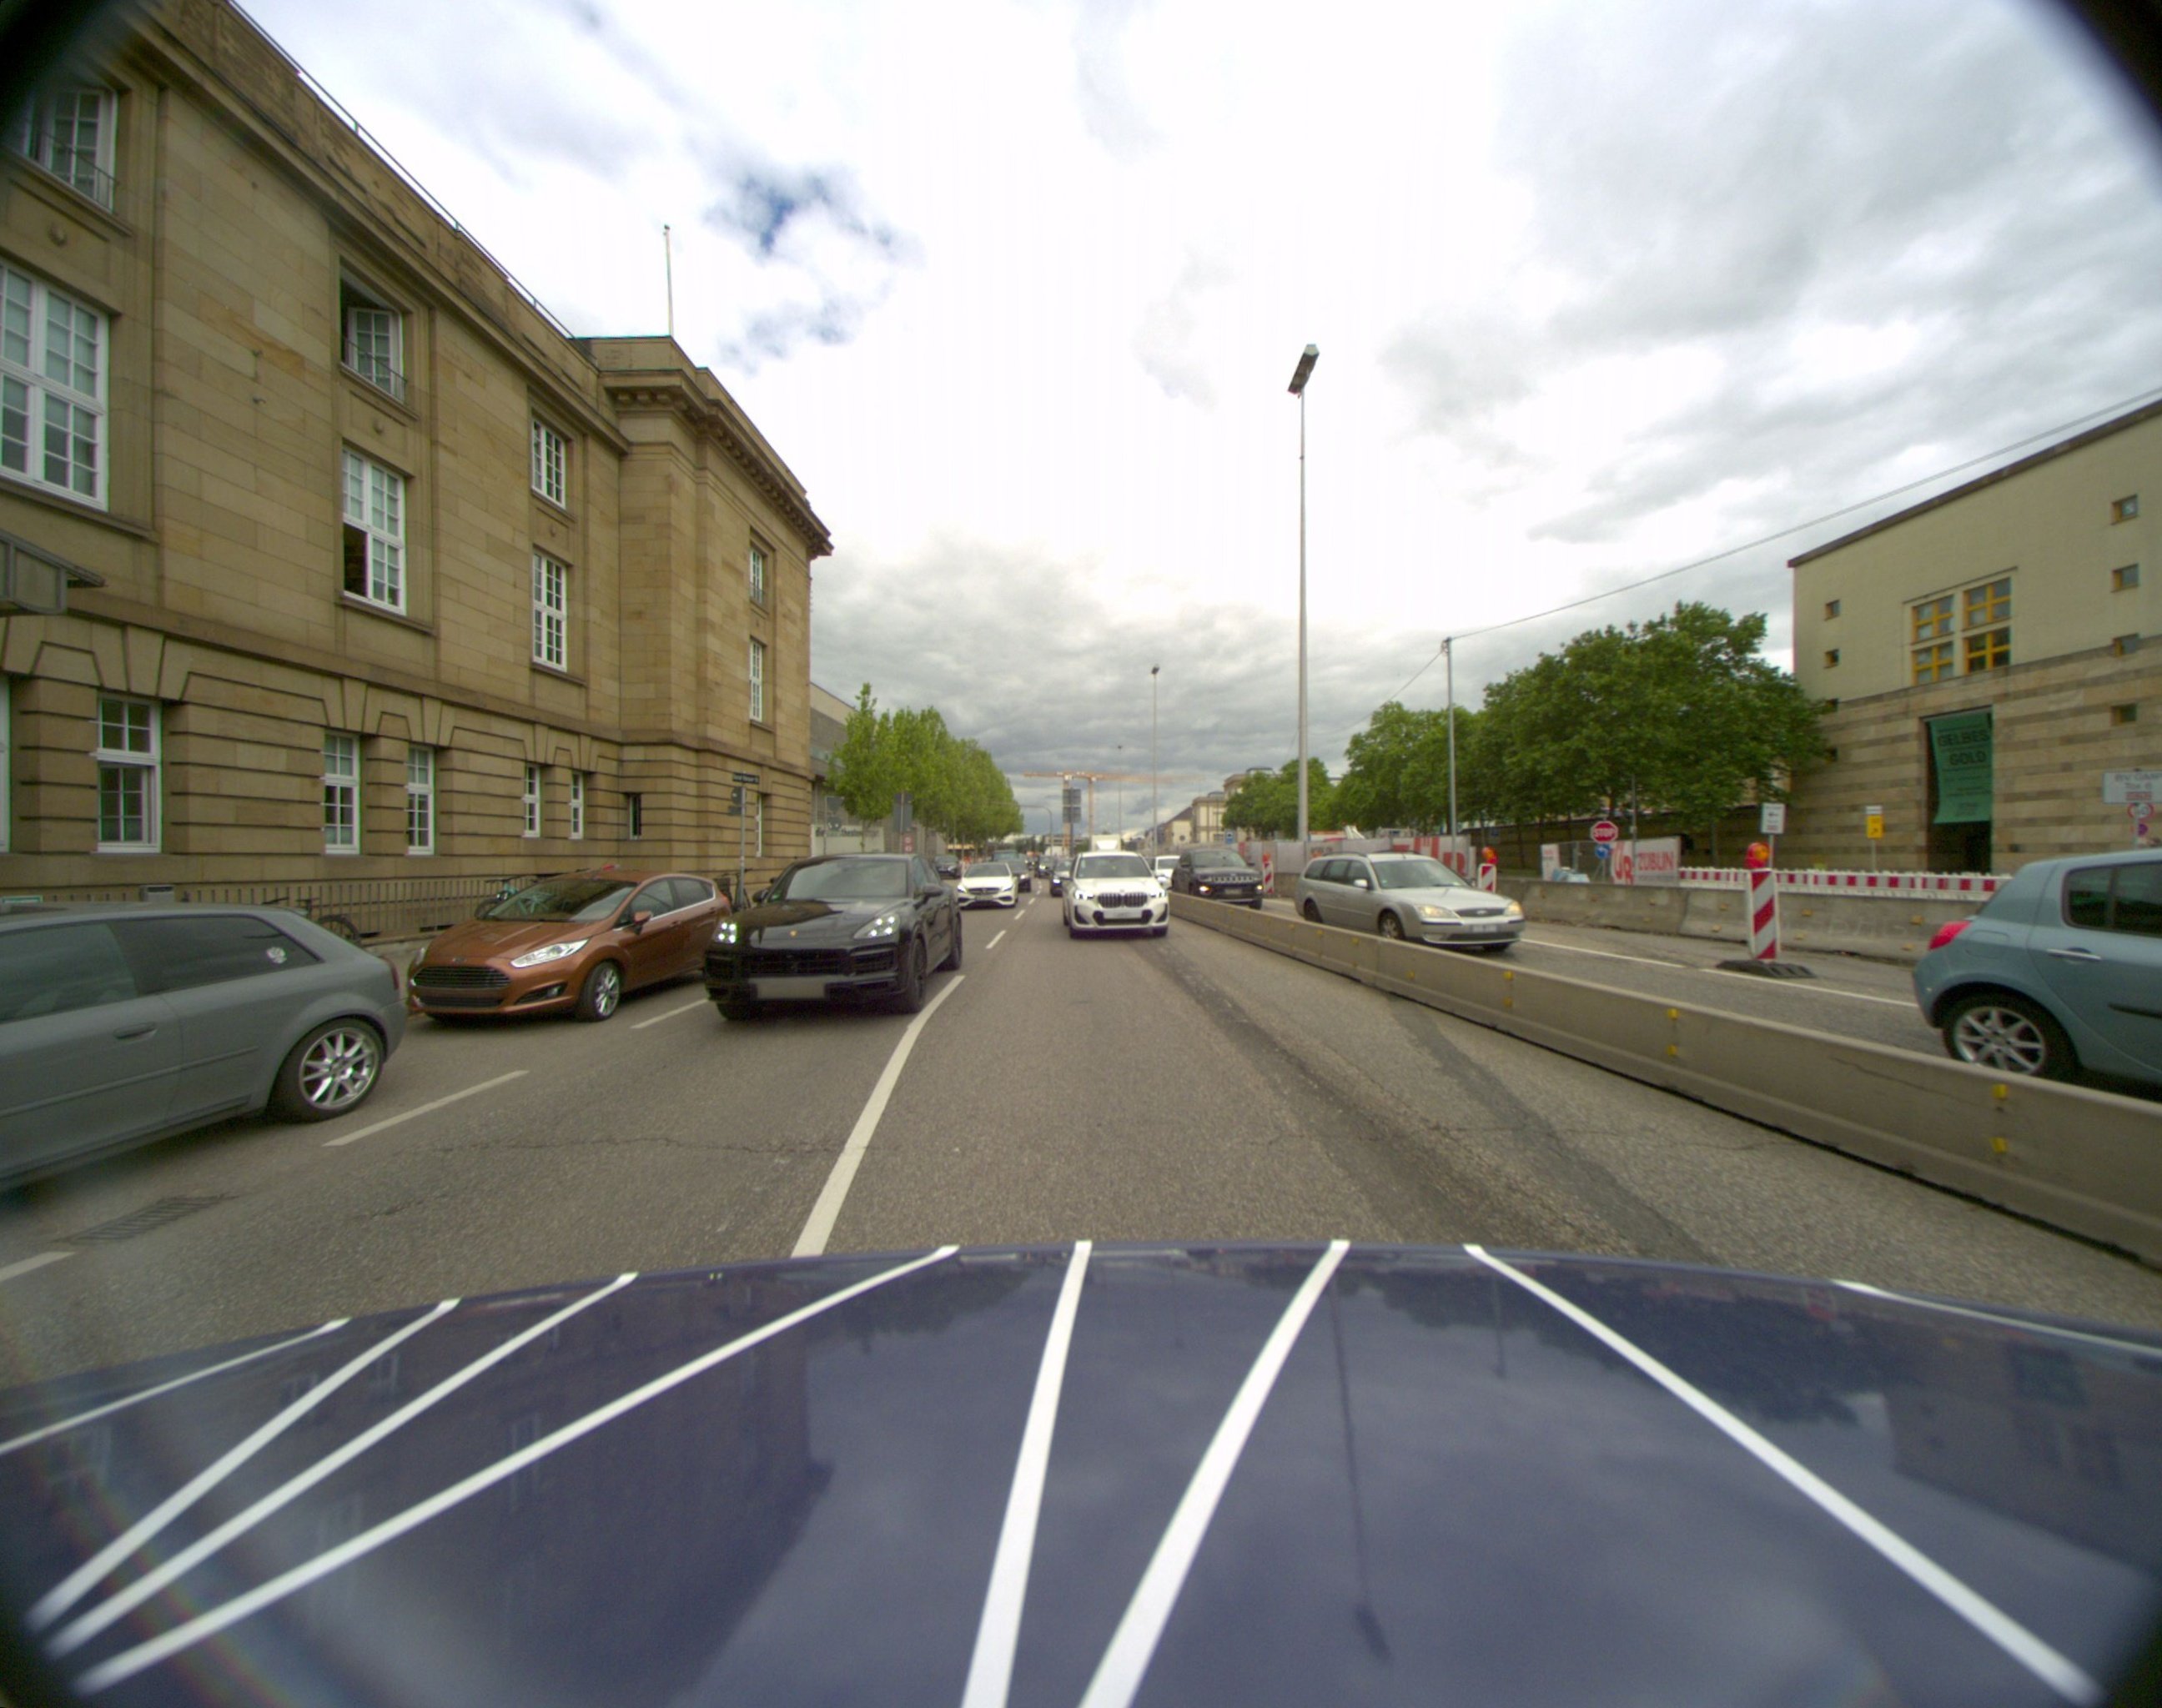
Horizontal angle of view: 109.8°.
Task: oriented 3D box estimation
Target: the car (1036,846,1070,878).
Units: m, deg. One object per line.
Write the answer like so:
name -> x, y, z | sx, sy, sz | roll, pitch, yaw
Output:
car -> -1.967, 0.526, 52.013 | 1.999, 2.002, 3.998 | -2, 0, -5

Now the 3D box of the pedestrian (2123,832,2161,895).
pedestrian -> 35.297, 0.294, 25.001 | 0.847, 2.002, 0.815 | -3, 1, 1

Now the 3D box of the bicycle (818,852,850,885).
bicycle -> -9.472, 0.535, 29.203 | 0.610, 1.217, 1.962 | 2, 0, -2

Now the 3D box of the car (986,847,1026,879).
car -> -4.670, 0.513, 47.949 | 1.952, 1.914, 4.399 | -1, 0, 1

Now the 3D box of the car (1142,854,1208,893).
car -> 3.443, 0.675, 28.508 | 1.731, 1.288, 3.933 | -2, 1, -4

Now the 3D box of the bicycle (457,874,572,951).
bicycle -> -9.917, 0.983, 13.397 | 0.557, 1.210, 1.915 | -1, 1, 1

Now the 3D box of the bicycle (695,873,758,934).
bicycle -> -7.453, 1.012, 16.054 | 0.461, 1.150, 1.831 | -1, 1, 0

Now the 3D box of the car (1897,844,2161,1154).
car -> 6.219, 0.721, 3.024 | 1.677, 1.498, 3.852 | -2, 1, -4

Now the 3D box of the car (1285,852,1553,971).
car -> 5.065, 0.737, 12.271 | 1.884, 1.473, 4.702 | -2, 1, -5

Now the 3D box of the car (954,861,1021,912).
car -> -2.981, 0.975, 24.366 | 1.936, 1.368, 3.997 | -2, 1, -7

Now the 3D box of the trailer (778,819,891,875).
trailer -> -20.439, -0.659, 64.505 | 3.154, 4.077, 13.978 | -3, 1, 8

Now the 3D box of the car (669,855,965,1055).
car -> -2.594, 0.877, 8.662 | 1.908, 1.648, 4.200 | -2, 0, -1

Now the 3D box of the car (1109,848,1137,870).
car -> 3.316, 0.379, 60.703 | 1.842, 1.751, 4.479 | 0, 0, -1

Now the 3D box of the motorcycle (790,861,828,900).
motorcycle -> -9.092, 0.856, 25.487 | 0.456, 1.235, 1.923 | 1, 1, 4

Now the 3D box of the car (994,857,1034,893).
car -> -2.993, 0.887, 33.416 | 1.613, 1.465, 3.620 | -1, 0, -7

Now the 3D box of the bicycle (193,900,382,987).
bicycle -> -9.947, 1.082, 9.637 | 0.307, 0.839, 1.878 | -2, 1, 3

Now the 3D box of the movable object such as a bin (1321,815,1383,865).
movable object such as a bin -> 12.414, -0.634, 34.972 | 1.526, 2.172, 3.291 | -1, 0, -4

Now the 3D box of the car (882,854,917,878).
car -> -12.417, 0.771, 52.181 | 1.584, 1.521, 3.503 | -2, 1, -1

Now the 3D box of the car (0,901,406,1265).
car -> -5.488, 1.049, 3.202 | 1.713, 1.418, 3.996 | 0, 1, 0

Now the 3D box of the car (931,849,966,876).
car -> -8.874, 0.574, 51.246 | 1.810, 1.728, 4.484 | -2, 0, -4

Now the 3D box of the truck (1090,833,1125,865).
truck -> 2.335, -0.444, 69.358 | 2.978, 2.757, 7.254 | 0, 0, 0

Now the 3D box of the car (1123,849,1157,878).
car -> 3.371, 0.525, 44.110 | 1.634, 1.546, 3.001 | -2, 1, -1

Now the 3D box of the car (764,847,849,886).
car -> -11.028, 0.481, 30.908 | 1.783, 1.460, 4.574 | -1, 0, 0

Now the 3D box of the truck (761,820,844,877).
truck -> -21.206, -0.432, 58.322 | 3.138, 4.061, 6.576 | -1, 1, 8

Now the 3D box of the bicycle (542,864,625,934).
bicycle -> -9.814, 0.847, 15.056 | 0.413, 1.281, 1.790 | -1, 1, 1

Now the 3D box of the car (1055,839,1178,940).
car -> 0.507, 0.555, 15.001 | 1.856, 1.619, 4.904 | -2, 1, -4

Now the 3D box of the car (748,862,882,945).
car -> -5.578, 0.973, 16.402 | 1.549, 1.543, 3.708 | 0, 0, 1

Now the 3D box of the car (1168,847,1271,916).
car -> 3.628, 0.657, 20.595 | 1.781, 1.611, 4.044 | -2, 1, -4

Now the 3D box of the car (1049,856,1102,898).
car -> -0.279, 0.841, 29.603 | 1.803, 1.429, 4.018 | -2, 1, -4

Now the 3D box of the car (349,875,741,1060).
car -> -5.484, 1.036, 8.486 | 1.620, 1.447, 3.858 | 1, 1, 0

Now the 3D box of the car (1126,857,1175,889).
car -> 3.332, 0.883, 37.264 | 1.859, 1.407, 4.564 | -2, 0, -1

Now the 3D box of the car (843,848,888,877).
car -> -14.790, 0.553, 52.367 | 1.810, 1.773, 4.620 | -4, 1, -1
